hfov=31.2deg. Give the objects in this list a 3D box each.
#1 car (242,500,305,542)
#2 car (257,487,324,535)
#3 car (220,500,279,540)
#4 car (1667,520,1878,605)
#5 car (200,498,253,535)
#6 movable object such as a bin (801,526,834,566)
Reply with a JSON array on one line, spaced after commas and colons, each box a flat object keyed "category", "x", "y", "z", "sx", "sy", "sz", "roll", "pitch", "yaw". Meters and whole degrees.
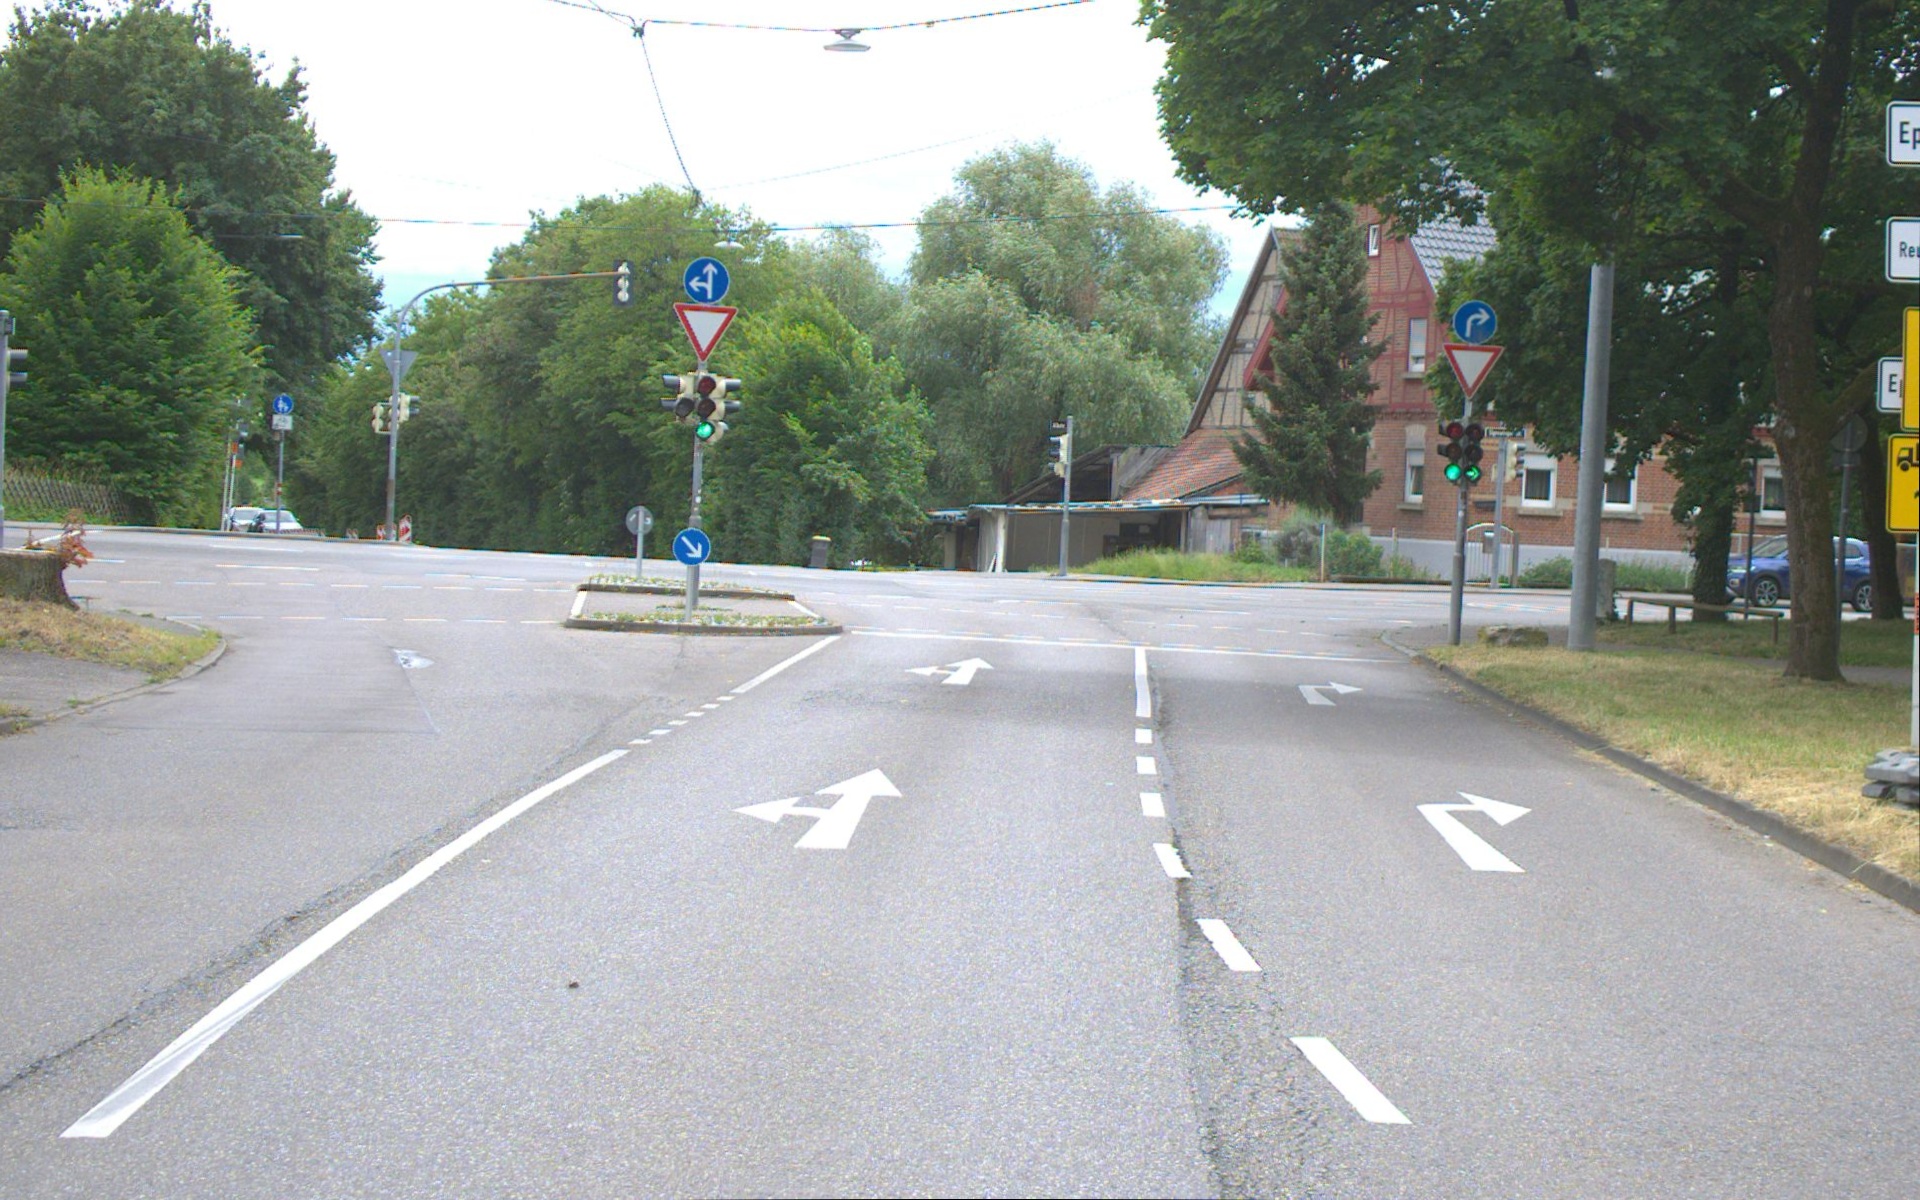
[{"category": "car", "x": -24.402, "y": -2.820, "z": 122.138, "sx": 1.793, "sy": 1.405, "sz": 4.002, "roll": 2, "pitch": 1, "yaw": -16}, {"category": "car", "x": -22.520, "y": -2.990, "z": 115.607, "sx": 1.793, "sy": 1.507, "sz": 4.002, "roll": 2, "pitch": 1, "yaw": -16}, {"category": "car", "x": -26.626, "y": -3.011, "z": 128.820, "sx": 1.793, "sy": 1.405, "sz": 4.002, "roll": 2, "pitch": 1, "yaw": -16}, {"category": "car", "x": 17.384, "y": -0.803, "z": 73.571, "sx": 3.844, "sy": 1.641, "sz": 2.001, "roll": 2, "pitch": 1, "yaw": -17}, {"category": "car", "x": -30.010, "y": -3.414, "z": 140.547, "sx": 1.793, "sy": 1.405, "sz": 4.002, "roll": 2, "pitch": 1, "yaw": -16}, {"category": "movable object such as a bin", "x": -3.631, "y": -1.374, "z": 87.653, "sx": 0.632, "sy": 0.998, "sz": 0.584, "roll": 3, "pitch": 0, "yaw": -25}]
